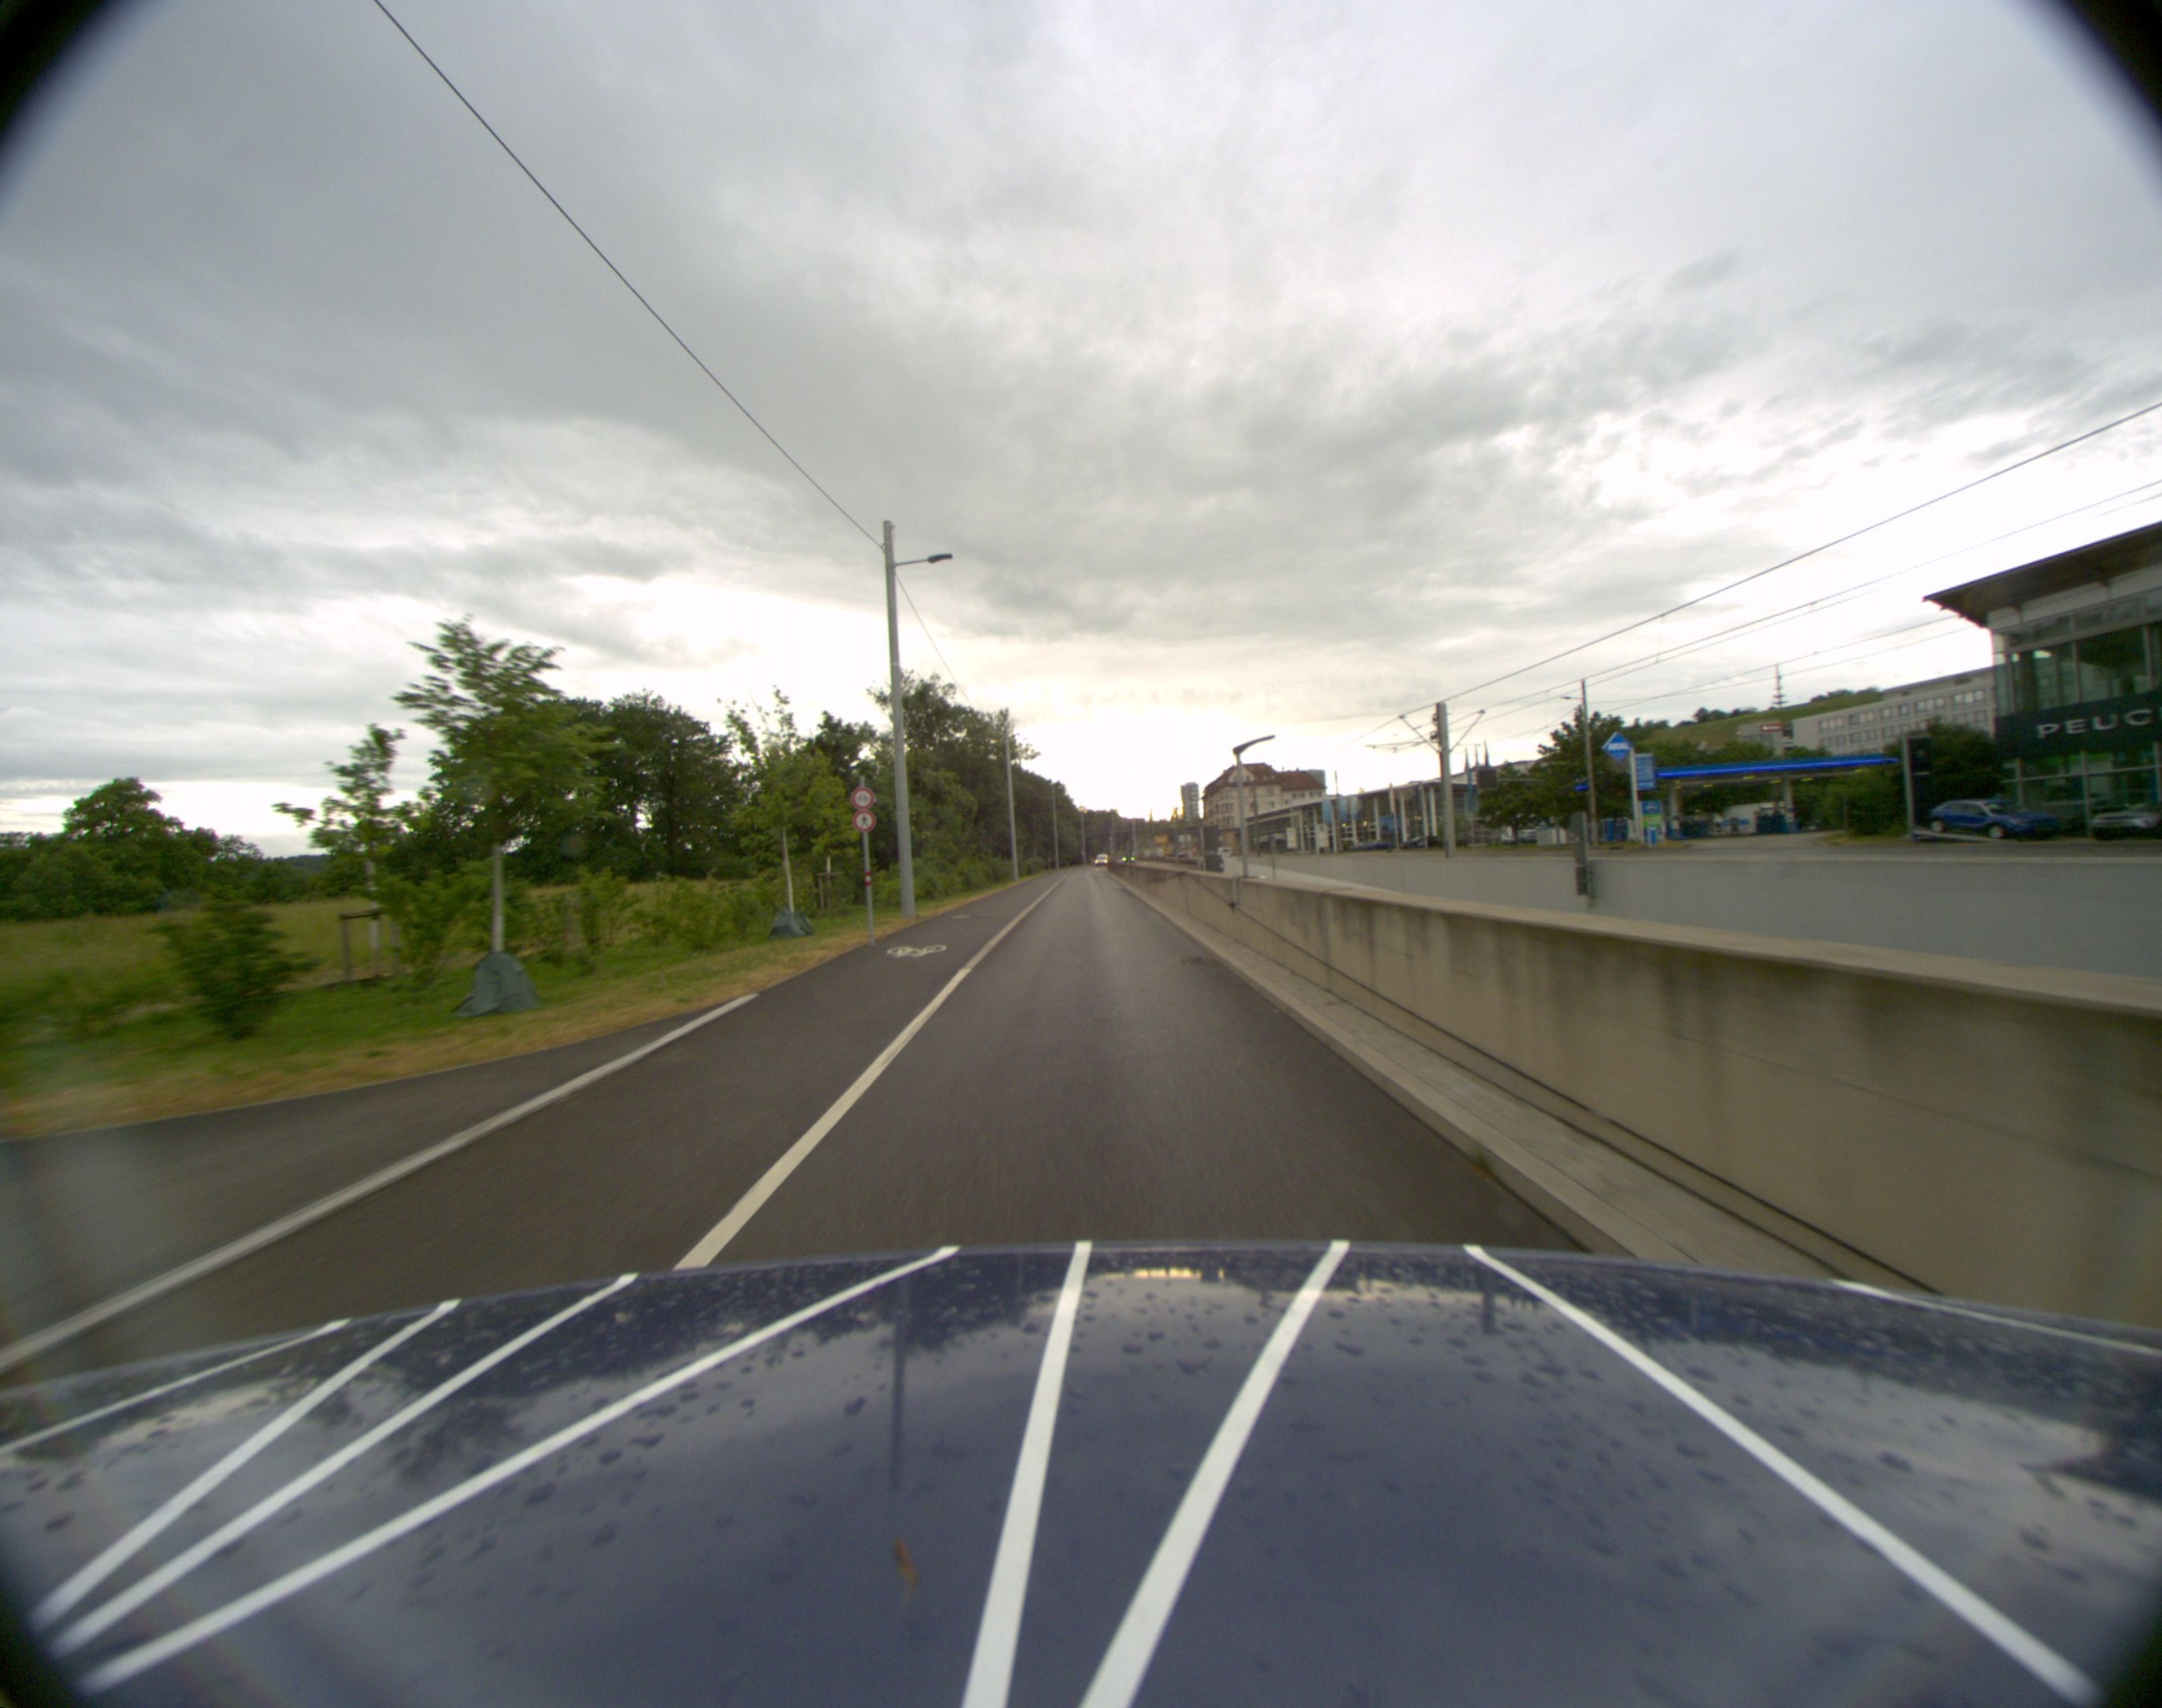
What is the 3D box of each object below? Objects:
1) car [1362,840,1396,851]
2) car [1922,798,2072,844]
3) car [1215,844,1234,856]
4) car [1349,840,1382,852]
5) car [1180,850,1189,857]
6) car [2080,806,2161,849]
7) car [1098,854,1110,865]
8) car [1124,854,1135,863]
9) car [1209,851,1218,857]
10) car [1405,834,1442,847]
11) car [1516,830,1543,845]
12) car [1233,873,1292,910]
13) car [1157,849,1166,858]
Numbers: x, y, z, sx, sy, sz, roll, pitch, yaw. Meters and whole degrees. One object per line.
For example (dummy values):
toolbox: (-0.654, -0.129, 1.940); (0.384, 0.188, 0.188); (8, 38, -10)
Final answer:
car: (39.582, -1.164, 100.936); (4.003, 1.228, 1.758); (-4, 1, -20)
car: (39.131, -1.466, 32.643); (1.765, 1.601, 4.065); (-3, 6, 8)
car: (23.412, -0.624, 124.403); (2.006, 1.685, 5.034); (-3, 0, 0)
car: (38.775, -1.111, 103.535); (4.003, 1.227, 1.701); (-4, -2, -20)
car: (27.363, -0.131, 200.565); (1.746, 1.506, 4.340); (-3, 0, 0)
car: (39.562, -0.957, 28.009); (3.512, 1.394, 1.574); (2, -1, -3)
car: (3.541, 0.870, 116.590); (1.710, 1.585, 4.000); (-3, 0, 1)
car: (8.628, 0.728, 136.227); (1.710, 1.521, 4.000); (-3, 0, 1)
car: (28.440, -0.044, 162.678); (1.385, 1.292, 2.801); (-4, 0, 0)
car: (40.076, -1.545, 88.903); (3.523, 1.267, 1.717); (-4, 0, 5)
car: (52.168, -1.932, 88.478); (1.385, 1.563, 2.801); (-4, 0, -1)
car: (9.224, 1.871, 39.025); (1.982, 1.564, 4.319); (-3, 0, 1)
car: (24.056, -0.208, 227.051); (2.056, 2.583, 6.164); (-4, 0, 0)
